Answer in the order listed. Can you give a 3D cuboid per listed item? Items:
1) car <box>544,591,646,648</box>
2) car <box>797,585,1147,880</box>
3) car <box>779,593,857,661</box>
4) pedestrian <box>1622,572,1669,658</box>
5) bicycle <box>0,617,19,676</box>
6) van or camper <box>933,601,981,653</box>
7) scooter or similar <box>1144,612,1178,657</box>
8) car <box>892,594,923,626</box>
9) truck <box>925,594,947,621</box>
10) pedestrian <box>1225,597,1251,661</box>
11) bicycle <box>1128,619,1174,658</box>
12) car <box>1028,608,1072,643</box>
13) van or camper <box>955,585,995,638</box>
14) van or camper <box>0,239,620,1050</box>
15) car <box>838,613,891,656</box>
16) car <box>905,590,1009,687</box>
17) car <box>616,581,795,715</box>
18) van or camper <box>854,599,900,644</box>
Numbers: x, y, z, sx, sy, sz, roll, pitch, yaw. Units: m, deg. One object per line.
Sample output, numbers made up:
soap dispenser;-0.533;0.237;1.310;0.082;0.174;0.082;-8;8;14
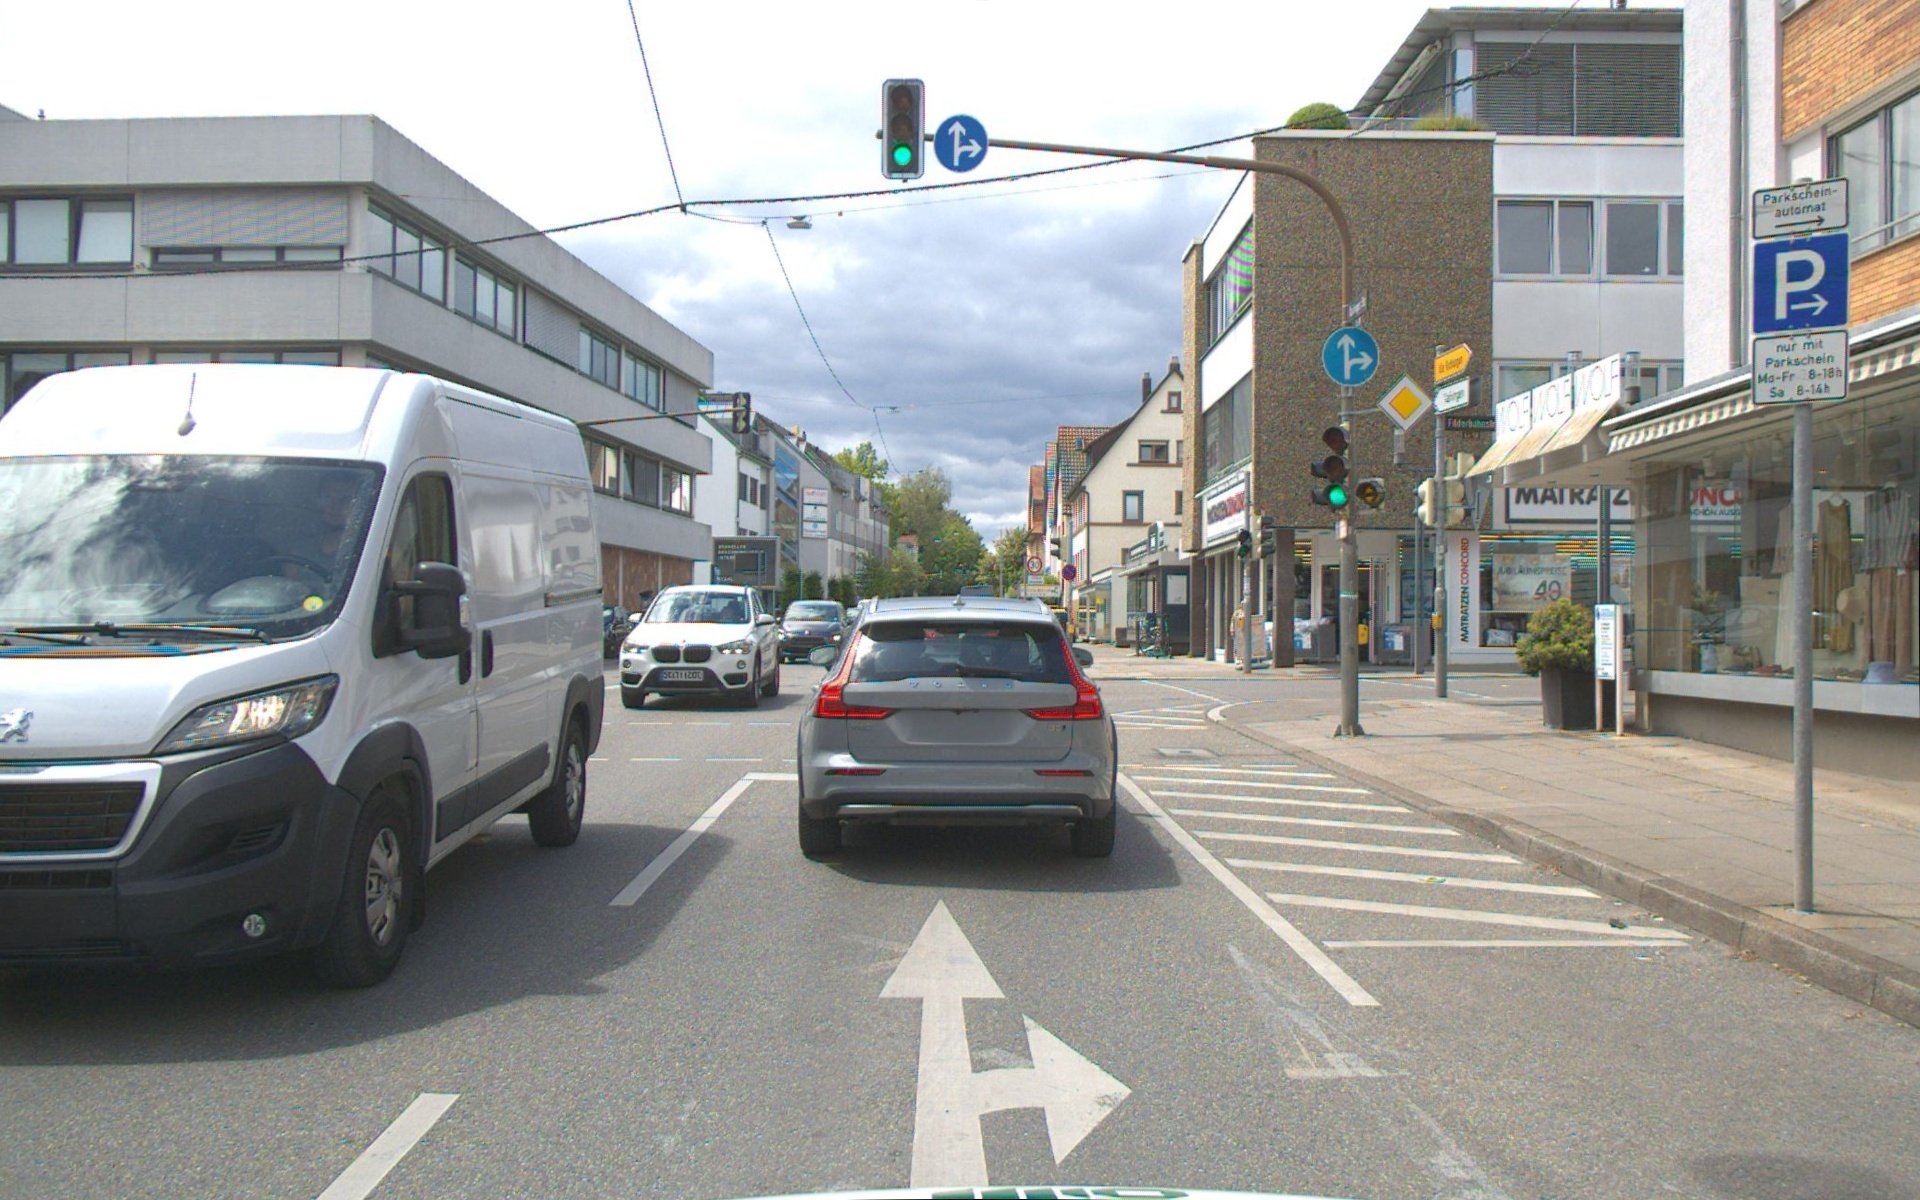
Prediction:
car;-10.354;0.560;47.181;1.747;1.490;4.088;2;-1;4
car;0.043;0.680;10.545;1.798;1.512;3.999;0;0;-1
car;-3.668;0.704;43.262;1.753;1.617;4.099;-2;-1;-2
pedestrian;14.101;0.302;34.044;0.573;1.735;0.613;-2;0;-32
bicycle;-19.928;0.945;32.963;1.848;1.162;0.774;-2;-1;-10
van or camper;-0.133;1.058;63.019;1.782;1.867;3.999;0;-3;-1
scooter or similar;5.872;1.021;48.417;0.336;1.275;1.235;-2;-1;-26
car;-3.227;0.646;102.801;1.800;1.951;4.155;1;-1;-1
truck;-2.583;0.839;180.867;2.229;2.937;7.079;0;0;1
pedestrian;6.580;0.685;39.151;0.493;1.485;0.500;-3;-2;13
bicycle;5.904;1.184;51.227;0.546;1.164;2.288;0;0;-17
car;4.125;1.191;76.165;1.676;1.490;3.998;1;-2;-2
van or camper;0.795;0.591;88.004;2.079;2.733;4.781;0;0;1
van or camper;-3.192;0.126;8.021;2.105;2.601;5.436;-1;0;-2
car;-3.524;1.268;61.392;1.648;1.523;3.967;-2;-1;0
car;-0.058;0.637;27.900;1.617;1.508;3.606;1;-1;-1
car;-3.458;0.620;23.196;1.744;1.668;4.221;-1;0;1
van or camper;-3.671;0.924;73.989;1.826;1.931;4.692;0;0;0
